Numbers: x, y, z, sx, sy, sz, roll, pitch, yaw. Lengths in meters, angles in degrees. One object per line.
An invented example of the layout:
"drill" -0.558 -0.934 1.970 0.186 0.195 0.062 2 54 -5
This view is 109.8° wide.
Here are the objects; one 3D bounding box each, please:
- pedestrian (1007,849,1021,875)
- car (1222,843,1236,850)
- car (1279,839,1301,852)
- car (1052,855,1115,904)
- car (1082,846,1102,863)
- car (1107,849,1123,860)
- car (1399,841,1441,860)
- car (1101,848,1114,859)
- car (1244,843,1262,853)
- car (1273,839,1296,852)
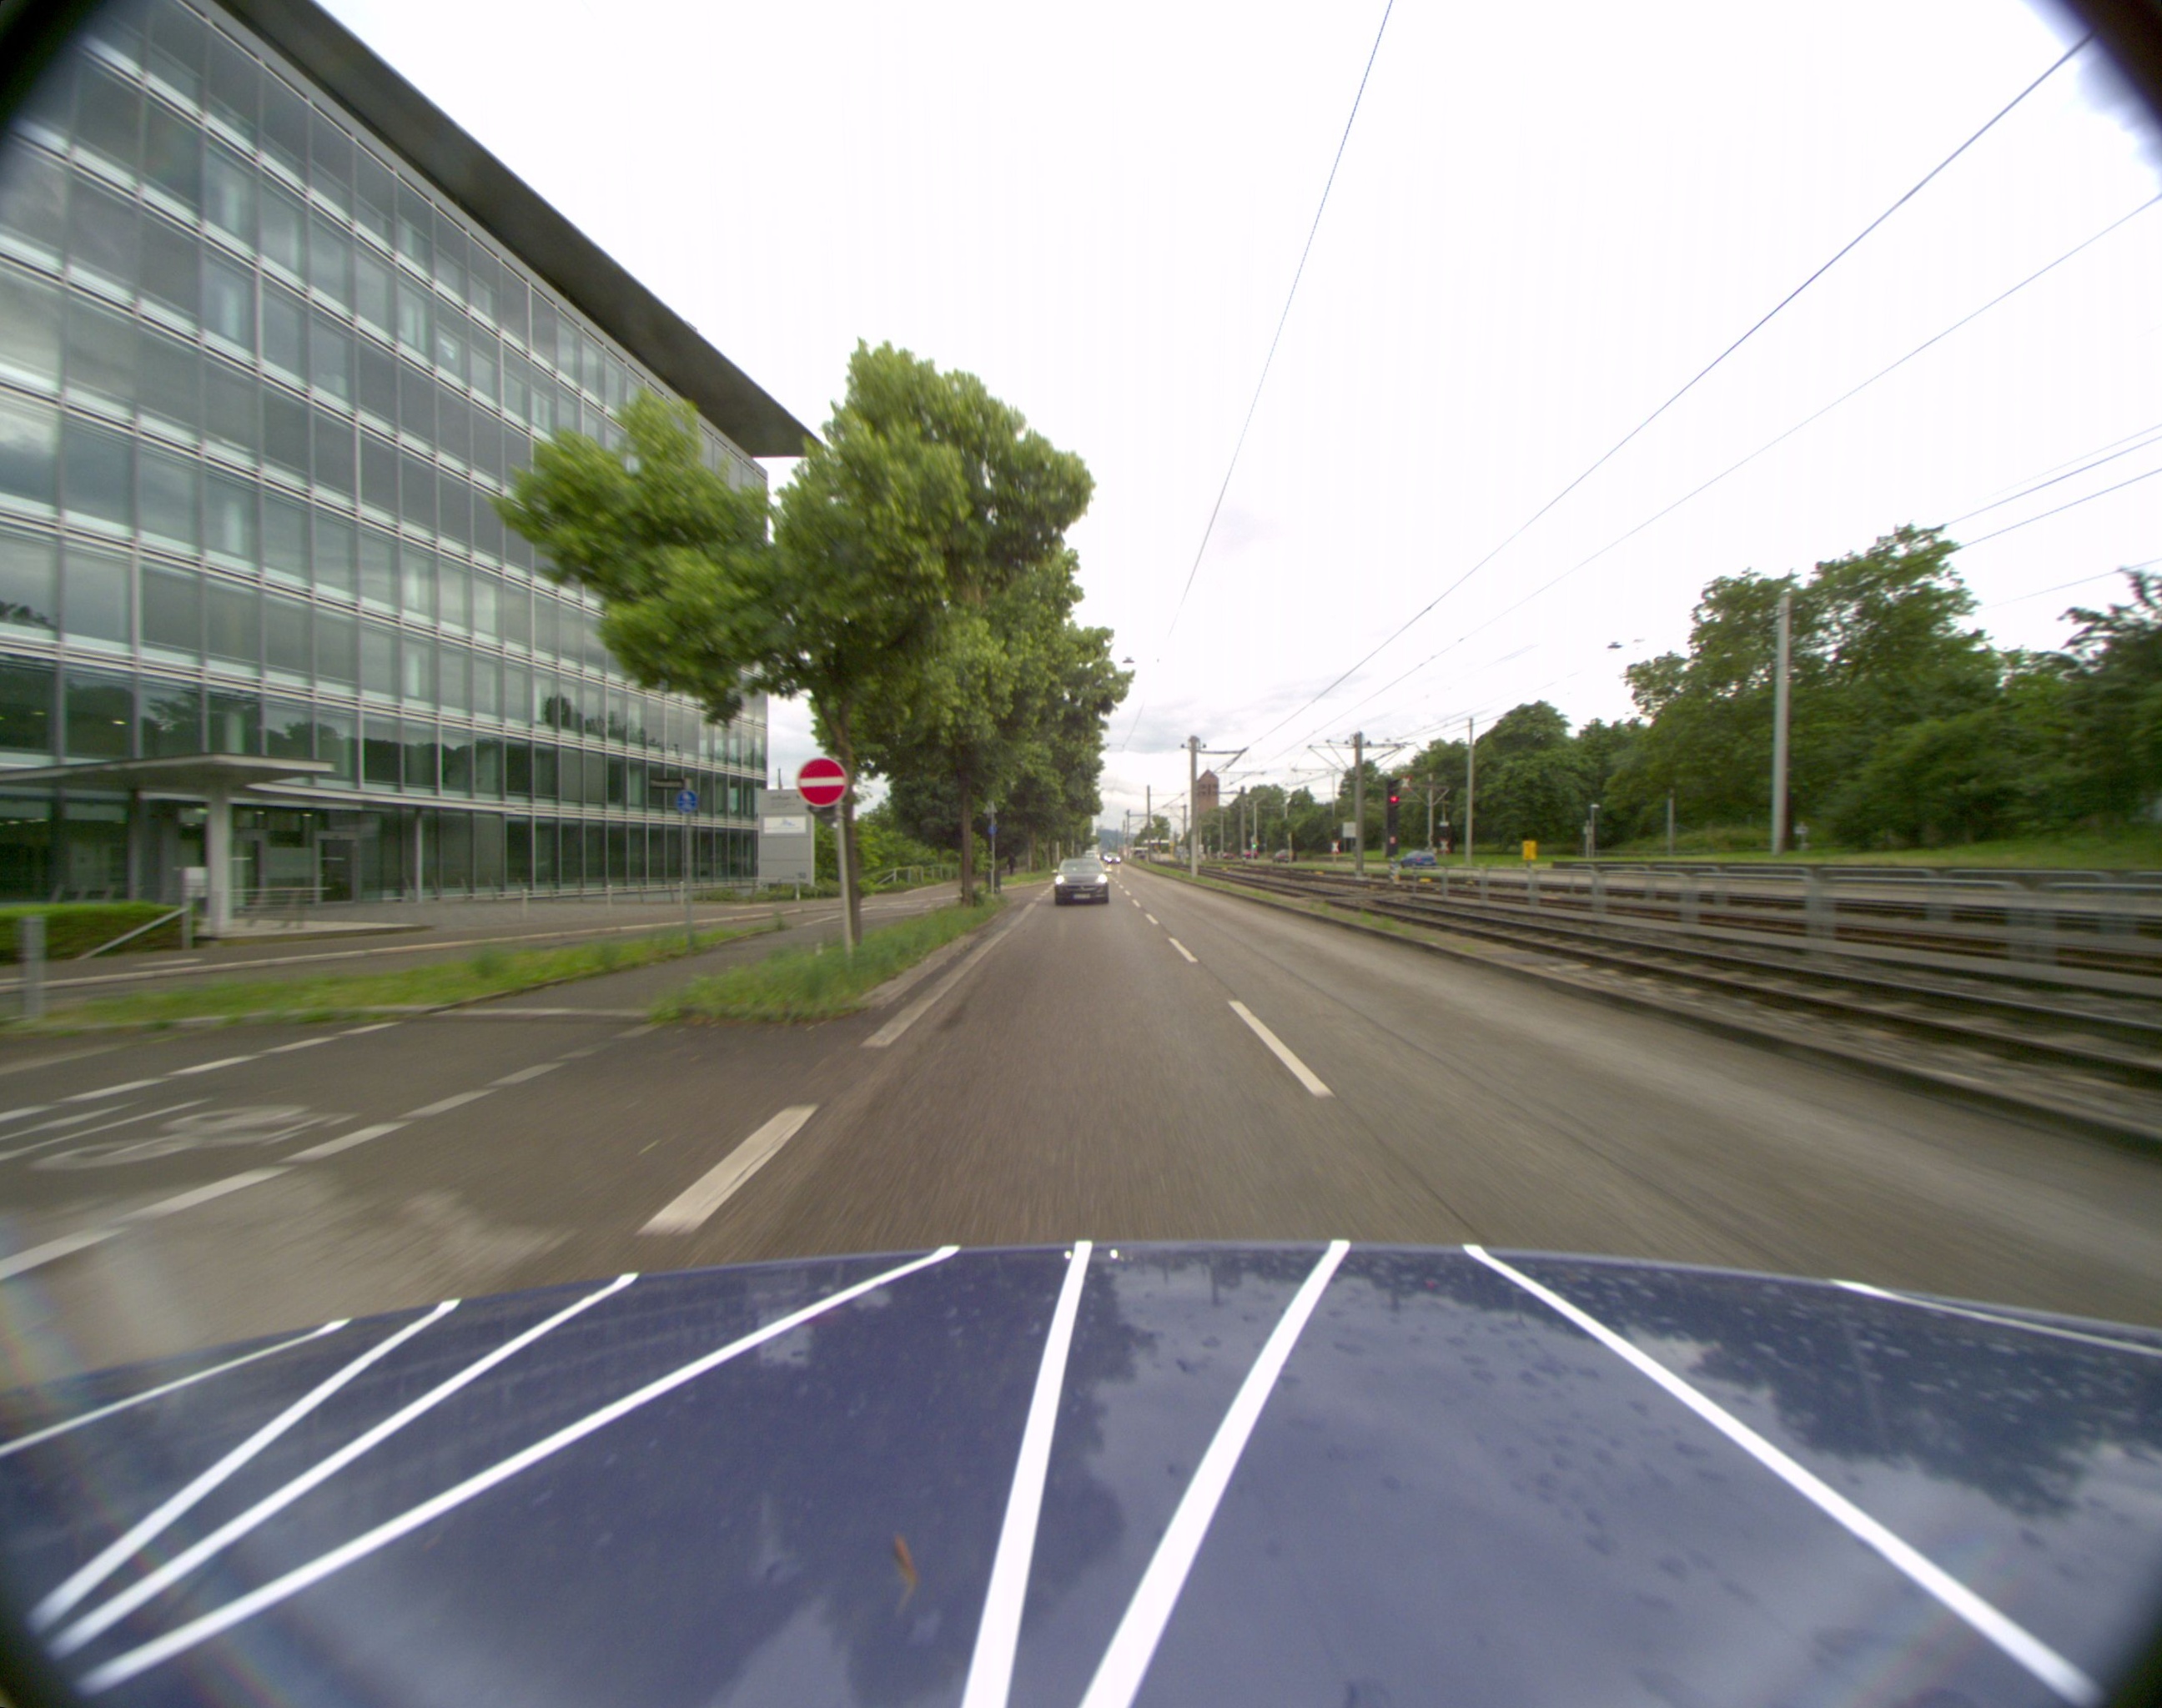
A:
"pedestrian" -4.736 0.586 54.092 0.828 1.787 0.867 -2 1 2
"car" 28.857 -1.442 148.571 1.931 1.438 4.682 -1 1 1
"car" 28.203 -1.146 102.735 1.952 1.586 4.848 -1 1 4
"car" 0.131 0.783 25.399 1.899 1.432 4.474 -2 0 1
"car" 1.151 0.003 77.866 1.998 1.608 4.000 -1 1 1
"car" 4.469 0.085 100.693 1.899 1.432 4.246 -2 0 1
"car" 26.334 -0.276 59.191 1.765 1.389 3.901 -1 1 4
"car" 4.140 -0.119 119.590 1.812 1.566 3.971 -2 1 1
"car" 28.714 -1.060 127.306 2.094 1.580 5.159 -1 1 3
"car" 24.966 -1.018 93.462 1.895 1.478 4.309 -1 1 4
